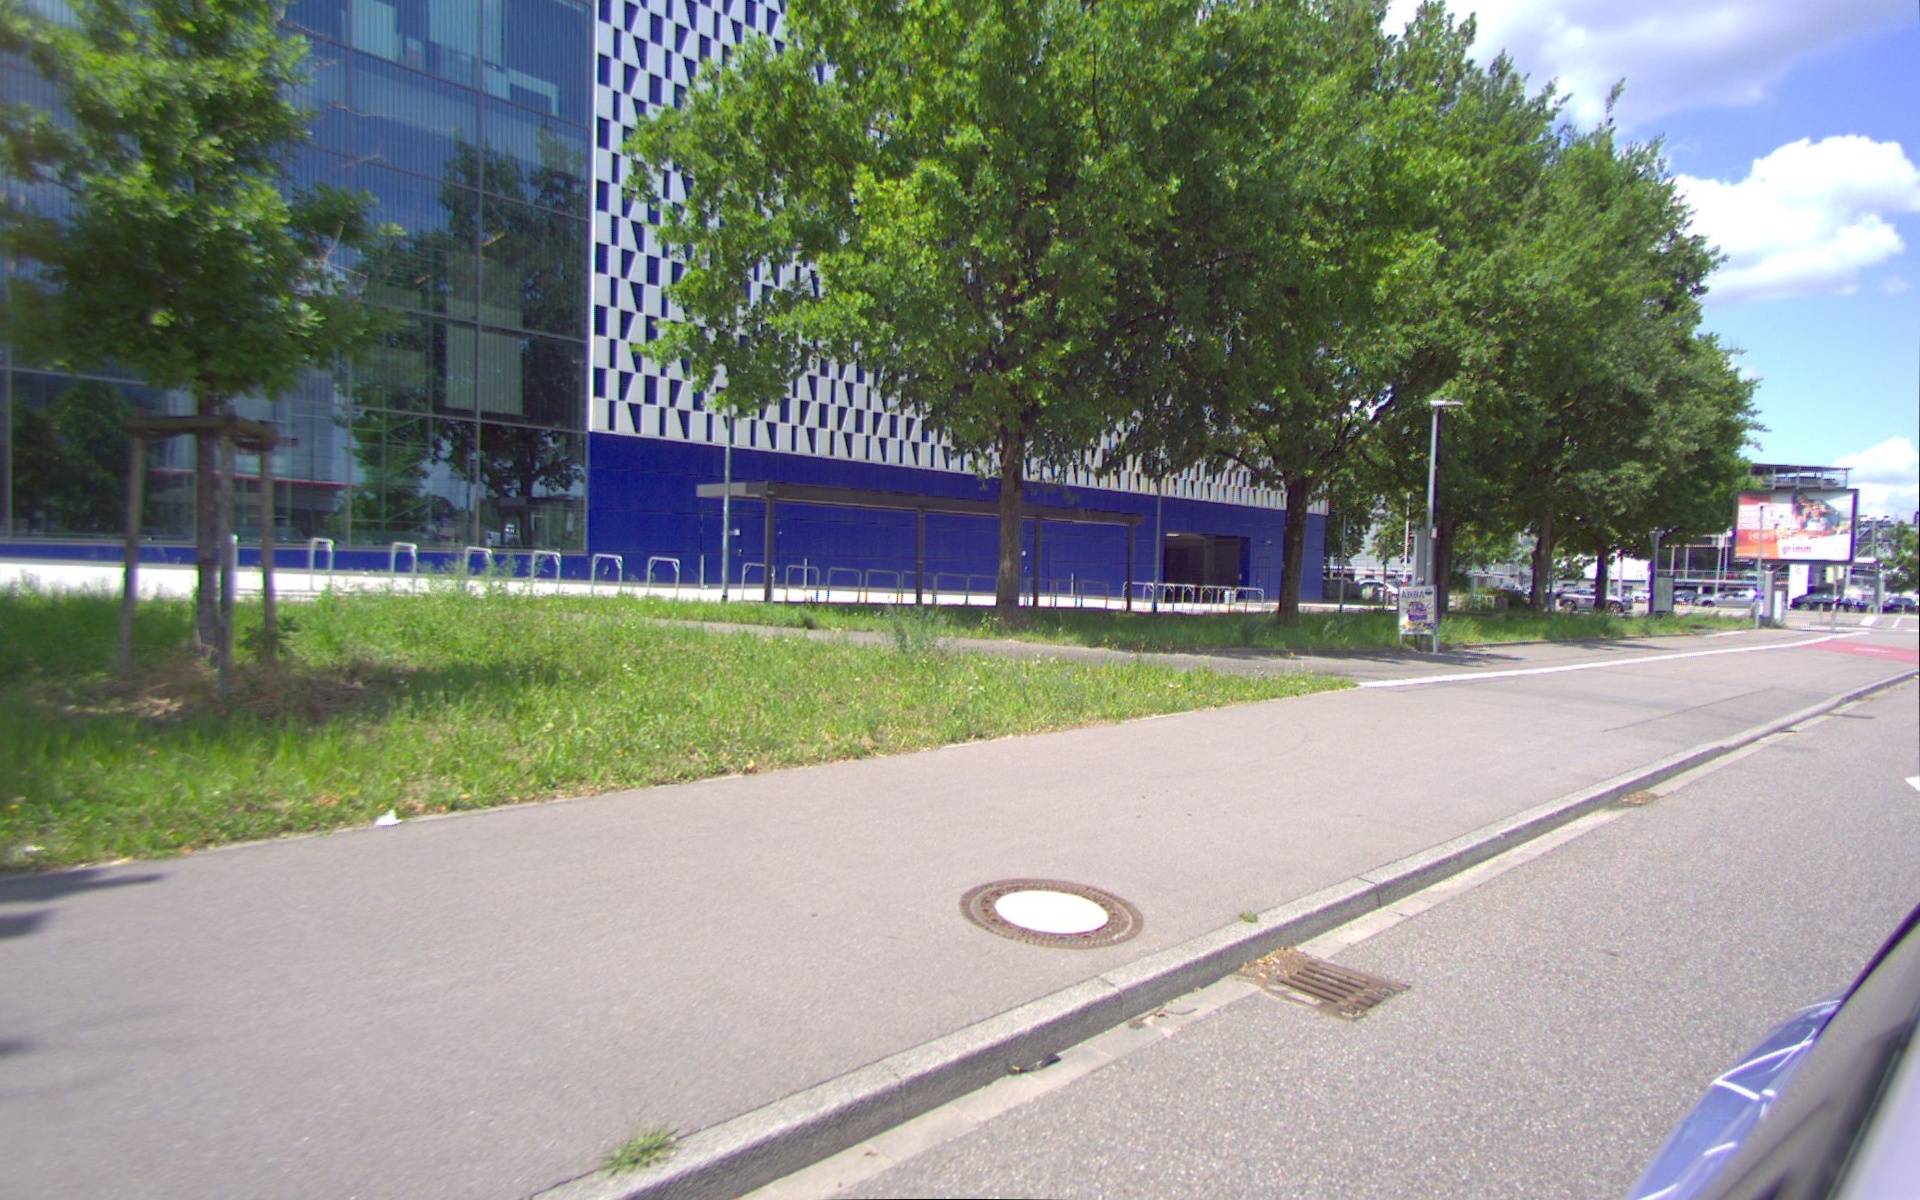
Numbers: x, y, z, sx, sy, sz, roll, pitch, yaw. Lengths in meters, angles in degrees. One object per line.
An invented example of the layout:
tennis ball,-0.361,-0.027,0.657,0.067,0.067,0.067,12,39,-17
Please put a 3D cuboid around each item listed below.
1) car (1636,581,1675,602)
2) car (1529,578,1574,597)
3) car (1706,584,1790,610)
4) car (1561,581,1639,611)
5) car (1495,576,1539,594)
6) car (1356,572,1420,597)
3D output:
car,58.885,-0.722,85.670,3.696,1.749,1.860,0,2,-43
car,53.344,-1.124,91.286,3.921,1.571,1.800,1,3,-32
car,57.164,-0.234,73.477,4.684,1.651,1.970,5,3,42
car,41.712,-0.286,65.969,3.987,1.712,1.830,5,3,43
car,51.402,-1.379,93.430,3.921,1.571,1.800,1,3,-32
car,32.400,-1.167,76.675,3.989,1.712,1.829,5,3,44
